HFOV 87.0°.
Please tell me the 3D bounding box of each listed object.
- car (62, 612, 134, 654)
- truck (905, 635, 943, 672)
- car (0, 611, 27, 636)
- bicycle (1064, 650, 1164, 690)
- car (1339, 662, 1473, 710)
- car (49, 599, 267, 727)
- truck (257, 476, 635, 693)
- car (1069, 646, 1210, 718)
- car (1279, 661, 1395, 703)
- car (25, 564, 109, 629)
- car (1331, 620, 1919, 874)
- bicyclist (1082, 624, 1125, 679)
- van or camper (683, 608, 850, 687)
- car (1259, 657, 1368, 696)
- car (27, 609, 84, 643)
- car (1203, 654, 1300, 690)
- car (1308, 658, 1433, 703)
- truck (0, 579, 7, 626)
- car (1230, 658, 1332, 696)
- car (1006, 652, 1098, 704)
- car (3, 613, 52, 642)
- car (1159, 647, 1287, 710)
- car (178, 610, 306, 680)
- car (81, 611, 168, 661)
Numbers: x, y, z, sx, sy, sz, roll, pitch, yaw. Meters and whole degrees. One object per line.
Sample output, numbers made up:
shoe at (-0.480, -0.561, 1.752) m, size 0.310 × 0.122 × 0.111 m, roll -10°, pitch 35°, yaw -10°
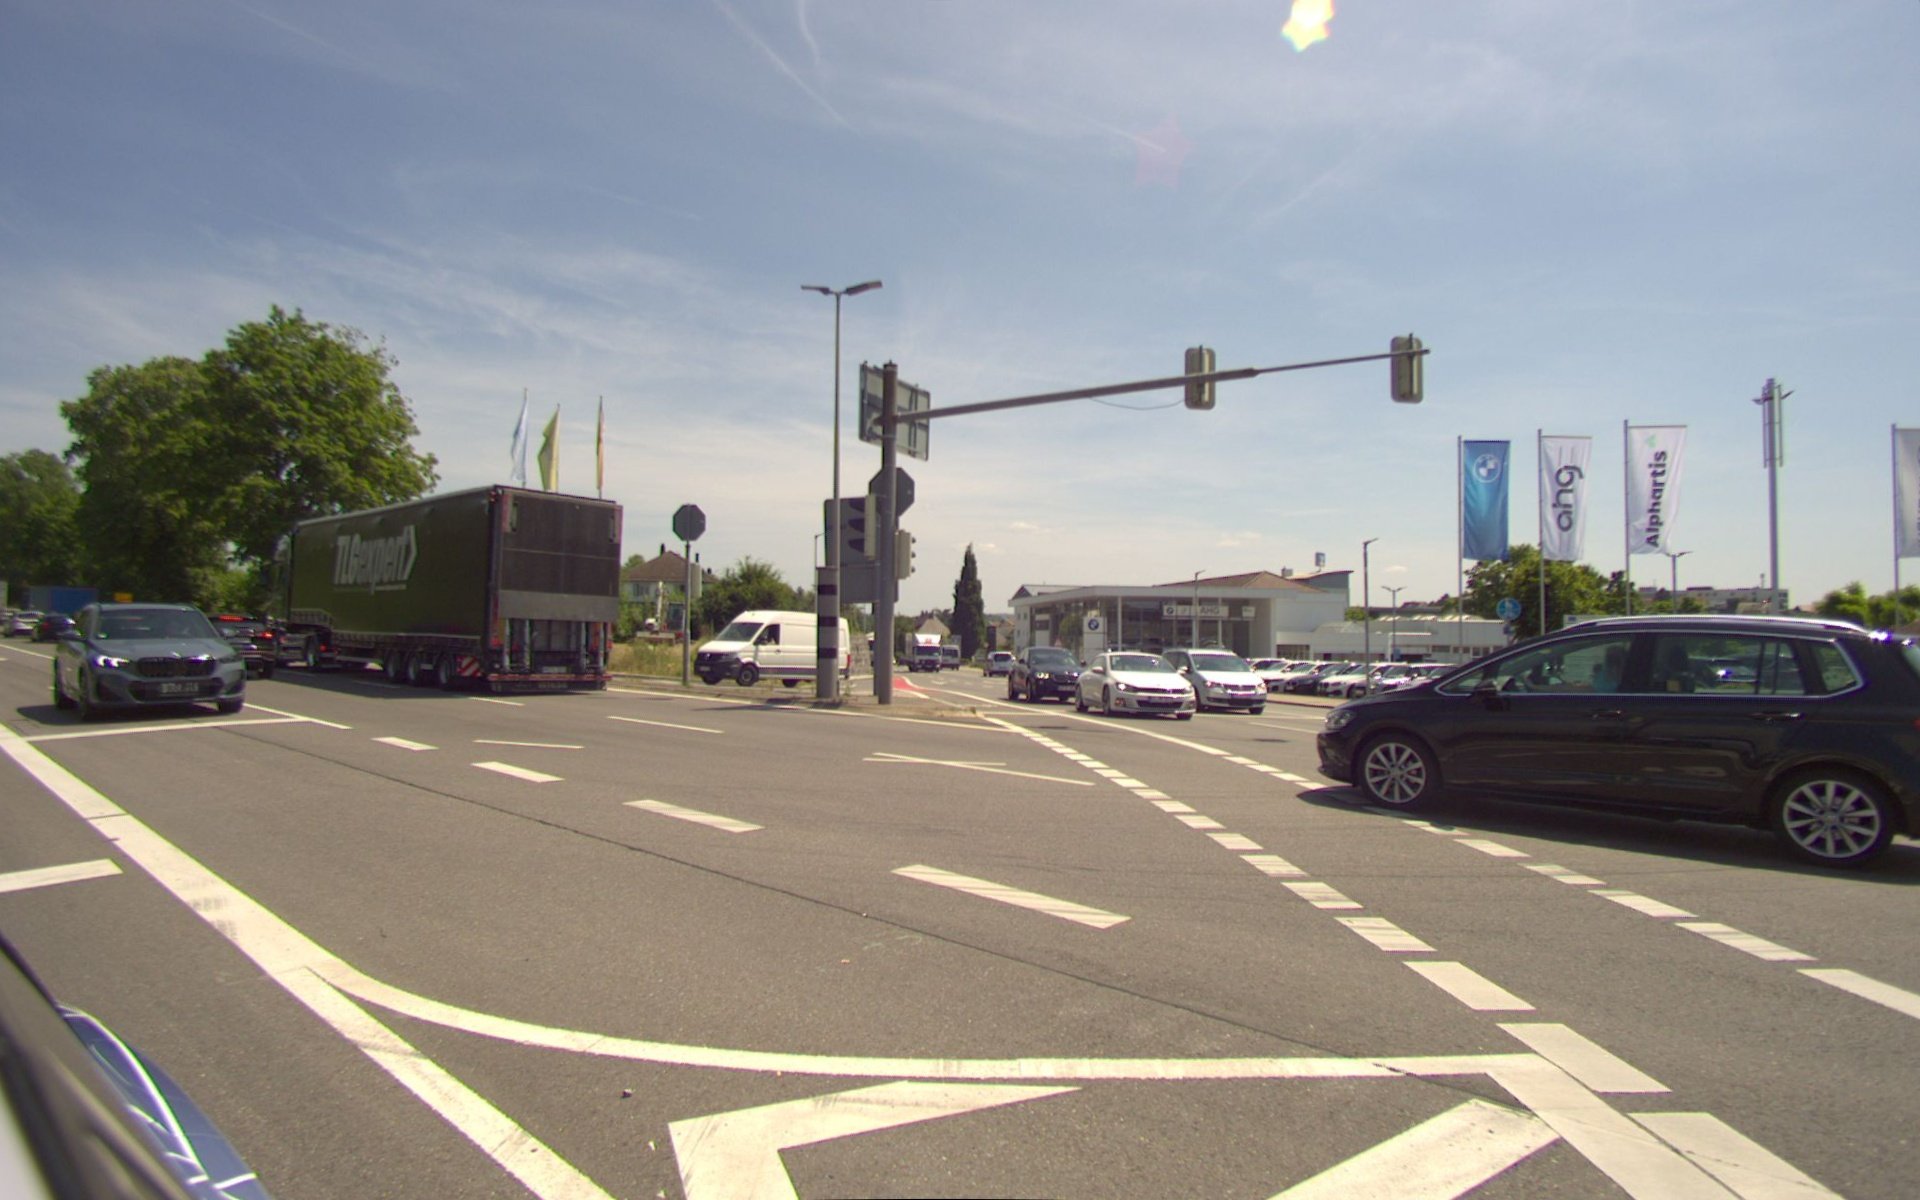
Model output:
car at (-33.996, 1.299, 39.874) m, size 3.956 × 1.509 × 1.665 m, roll 0°, pitch -4°, yaw 44°
truck at (-3.424, 4.860, 93.609) m, size 2.957 × 3.245 × 9.623 m, roll 1°, pitch -2°, yaw -5°
car at (-82.683, 2.048, 88.033) m, size 4.001 × 2.029 × 1.971 m, roll -1°, pitch -3°, yaw 44°
bicycle at (5.017, 2.269, 33.081) m, size 3.126 × 1.179 × 1.116 m, roll -1°, pitch -2°, yaw 41°
car at (15.867, 3.058, 36.082) m, size 3.934 × 1.586 × 2.005 m, roll 1°, pitch -2°, yaw -12°
car at (-12.028, 0.810, 15.068) m, size 4.510 × 1.622 × 1.902 m, roll 0°, pitch 0°, yaw 43°
truck at (-13.849, -0.171, 25.511) m, size 17.090 × 3.985 × 2.812 m, roll 0°, pitch -4°, yaw 44°
car at (3.703, 1.685, 21.571) m, size 1.894 × 1.324 × 4.005 m, roll 1°, pitch -2°, yaw -6°
car at (15.236, 3.301, 41.001) m, size 3.934 × 1.586 × 2.005 m, roll 1°, pitch -2°, yaw -12°
car at (-60.147, -0.140, 68.101) m, size 7.691 × 4.111 × 3.307 m, roll -1°, pitch -3°, yaw 42°
car at (5.135, 0.917, 7.516) m, size 4.155 × 1.439 × 1.665 m, roll 0°, pitch -3°, yaw 44°
bicyclist at (4.739, 1.682, 33.446) m, size 1.054 × 1.782 × 0.956 m, roll -1°, pitch -1°, yaw 41°
van or camper at (-6.382, 1.592, 33.929) m, size 2.095 × 2.431 × 5.397 m, roll -1°, pitch -3°, yaw 39°
car at (15.201, 3.286, 43.554) m, size 3.934 × 1.586 × 2.005 m, roll 1°, pitch -2°, yaw -12°
car at (-43.770, 1.263, 48.948) m, size 3.956 × 1.509 × 1.665 m, roll 0°, pitch -4°, yaw 44°
car at (13.968, 3.440, 48.591) m, size 3.934 × 1.586 × 2.005 m, roll 1°, pitch -2°, yaw -12°
car at (15.625, 3.045, 38.583) m, size 3.934 × 1.586 × 2.005 m, roll 1°, pitch -2°, yaw -12°
truck at (-96.473, 0.263, 99.857) m, size 3.484 × 4.556 × 7.208 m, roll -1°, pitch 0°, yaw -44°
car at (14.546, 3.478, 45.923) m, size 3.934 × 1.586 × 2.005 m, roll 1°, pitch -2°, yaw -12°
car at (2.598, 2.219, 29.468) m, size 1.894 × 1.324 × 4.005 m, roll 1°, pitch -2°, yaw -6°
car at (-52.322, 1.524, 56.769) m, size 3.956 × 1.509 × 1.665 m, roll 0°, pitch -4°, yaw 44°
car at (6.655, 1.970, 26.078) m, size 1.894 × 1.432 × 4.005 m, roll 1°, pitch -2°, yaw -6°
car at (-17.134, 1.035, 24.087) m, size 3.956 × 1.509 × 1.665 m, roll 0°, pitch -4°, yaw 44°
car at (-27.337, 1.156, 33.089) m, size 3.822 × 1.509 × 1.665 m, roll 0°, pitch -4°, yaw 44°
